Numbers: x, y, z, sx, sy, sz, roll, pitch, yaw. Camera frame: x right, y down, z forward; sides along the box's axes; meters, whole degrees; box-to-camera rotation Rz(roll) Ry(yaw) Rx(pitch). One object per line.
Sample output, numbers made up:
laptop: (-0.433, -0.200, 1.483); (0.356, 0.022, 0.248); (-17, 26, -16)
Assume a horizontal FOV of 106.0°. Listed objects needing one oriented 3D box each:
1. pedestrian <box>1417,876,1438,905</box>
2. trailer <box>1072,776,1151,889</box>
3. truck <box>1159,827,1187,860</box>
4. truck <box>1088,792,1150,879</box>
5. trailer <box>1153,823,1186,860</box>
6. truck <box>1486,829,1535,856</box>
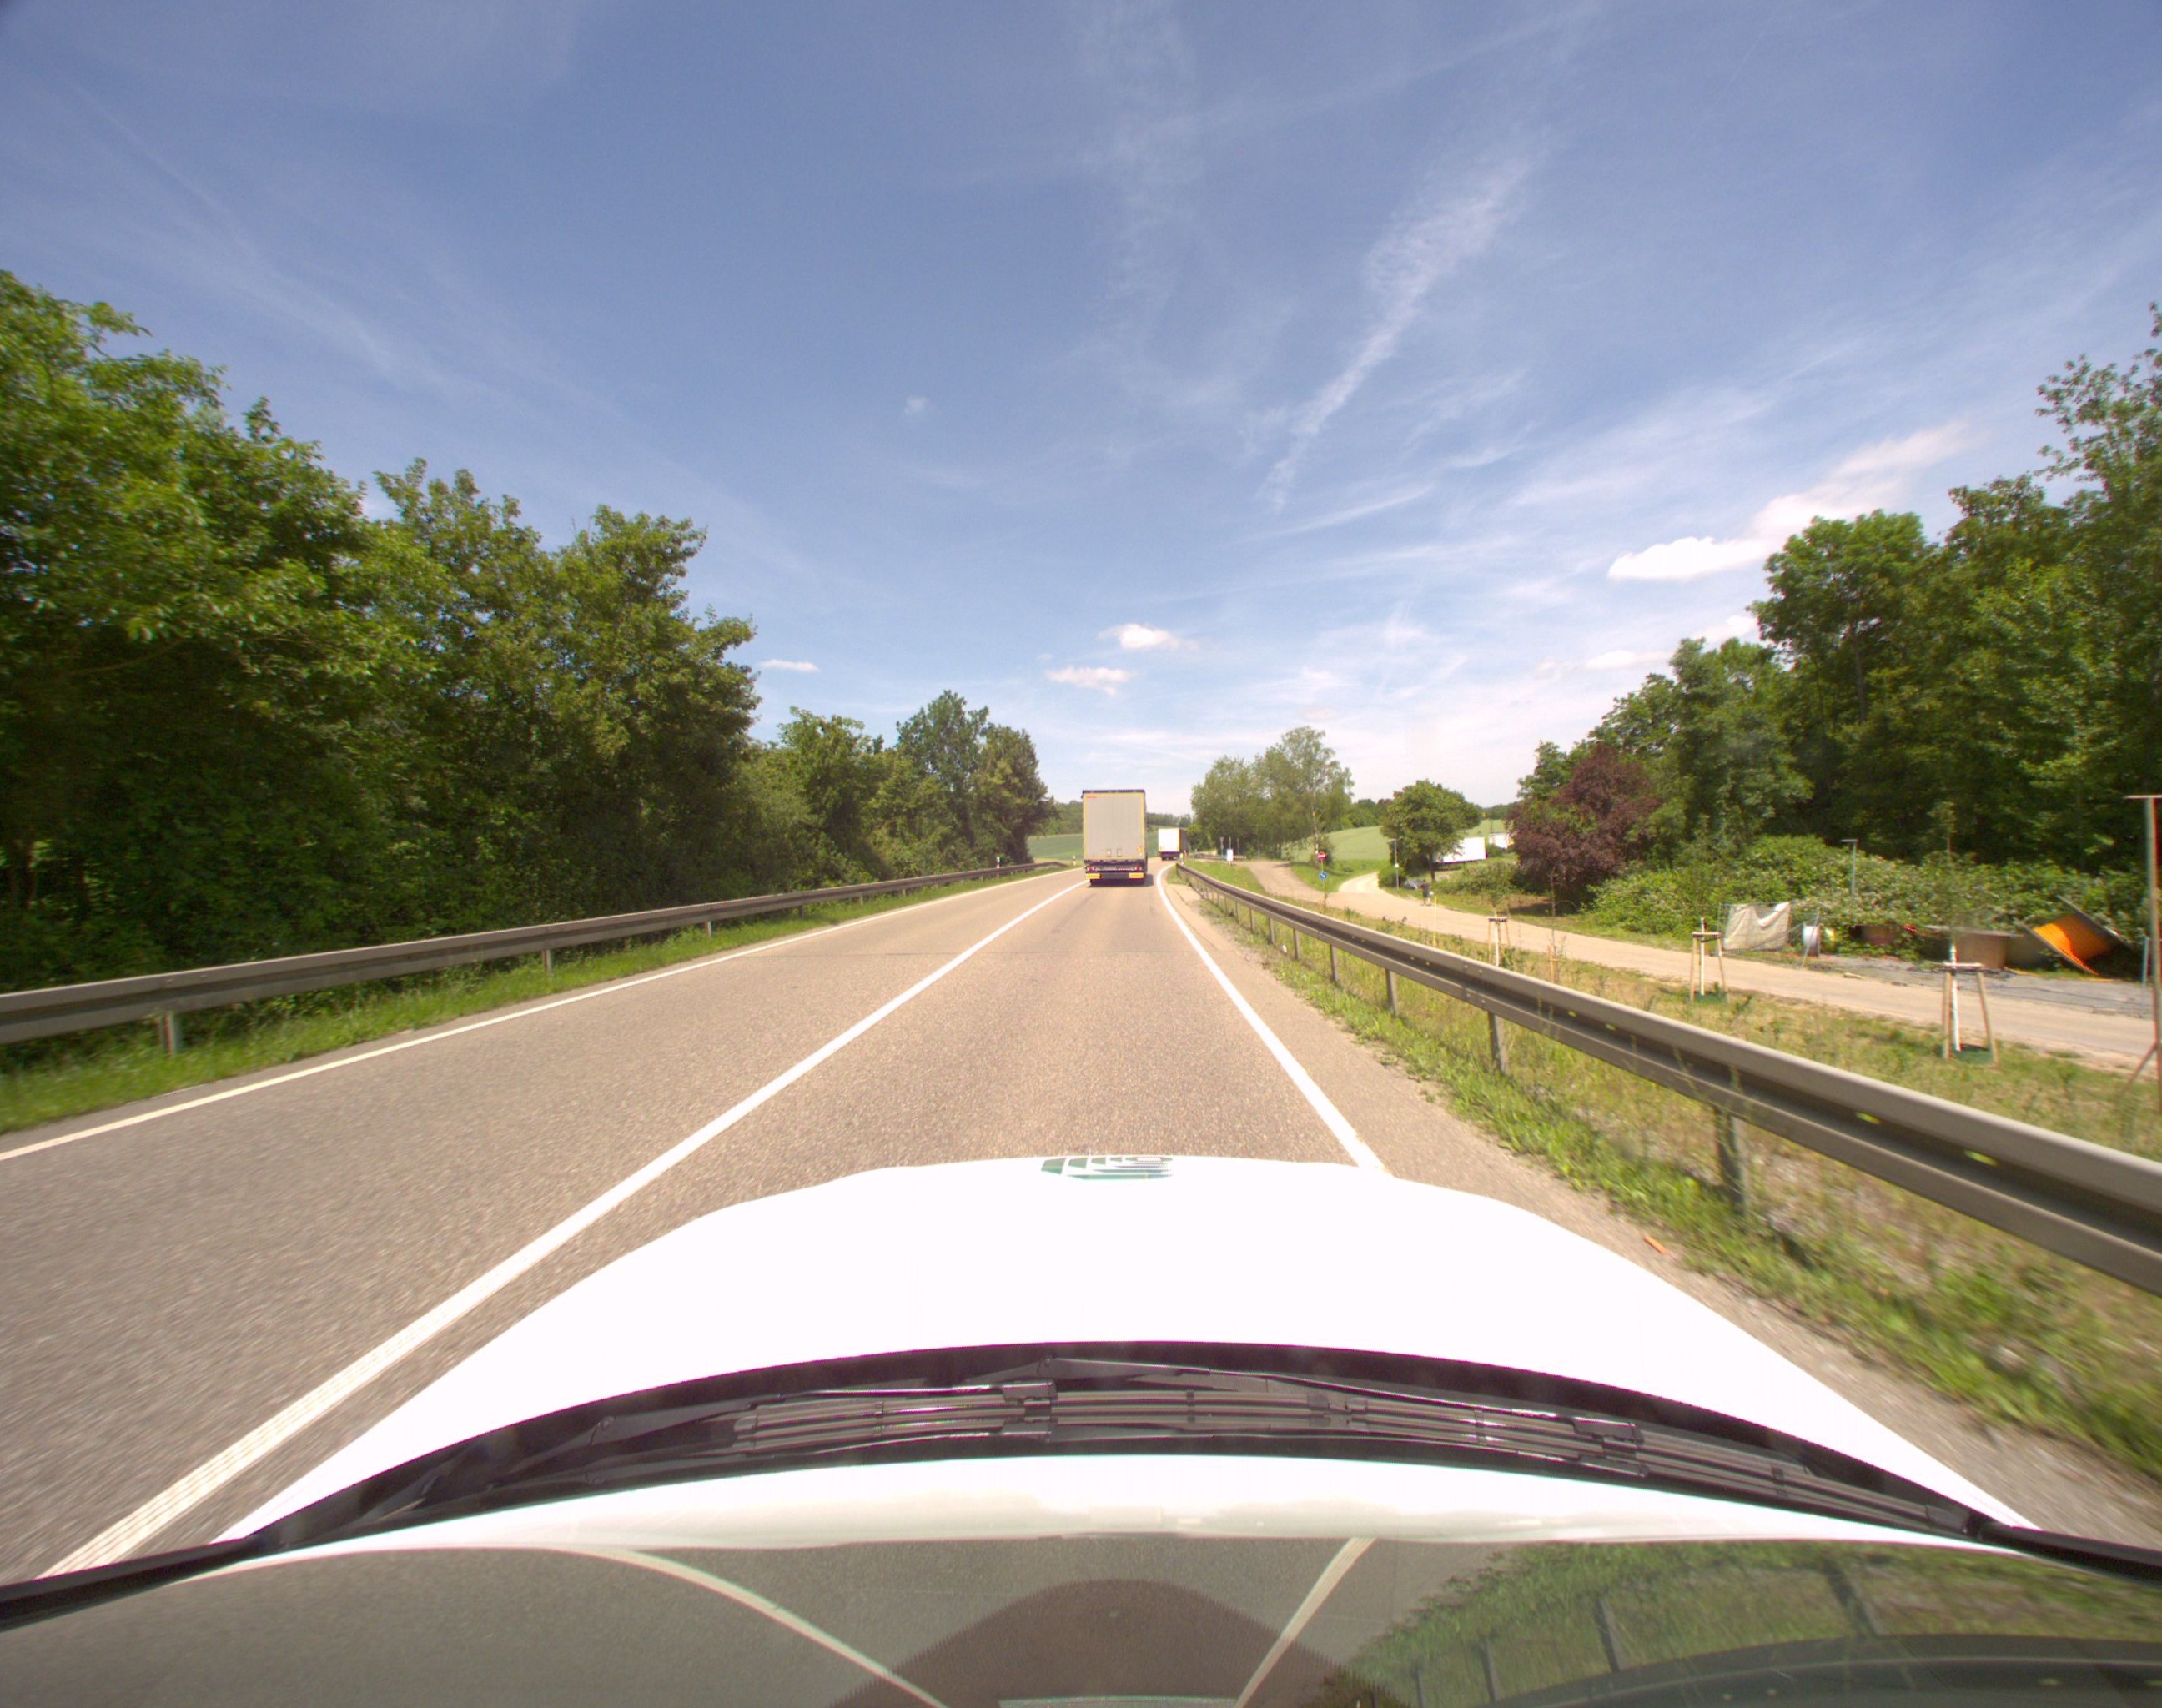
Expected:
pedestrian: (22.868, 2.391, 53.714); (0.881, 1.811, 0.960); (-4, 0, 3)
trailer: (1.752, -0.916, 39.775); (3.104, 4.499, 13.903); (-1, 0, 4)
truck: (12.665, -1.404, 111.588); (3.345, 4.317, 6.757); (-1, -1, 9)
truck: (2.270, -0.996, 45.935); (3.103, 4.494, 6.821); (-1, 0, 5)
trailer: (11.644, -1.469, 105.521); (3.345, 4.317, 13.899); (-1, -1, 9)
truck: (63.491, -1.702, 120.423); (7.165, 3.536, 3.120); (-3, 0, -32)
